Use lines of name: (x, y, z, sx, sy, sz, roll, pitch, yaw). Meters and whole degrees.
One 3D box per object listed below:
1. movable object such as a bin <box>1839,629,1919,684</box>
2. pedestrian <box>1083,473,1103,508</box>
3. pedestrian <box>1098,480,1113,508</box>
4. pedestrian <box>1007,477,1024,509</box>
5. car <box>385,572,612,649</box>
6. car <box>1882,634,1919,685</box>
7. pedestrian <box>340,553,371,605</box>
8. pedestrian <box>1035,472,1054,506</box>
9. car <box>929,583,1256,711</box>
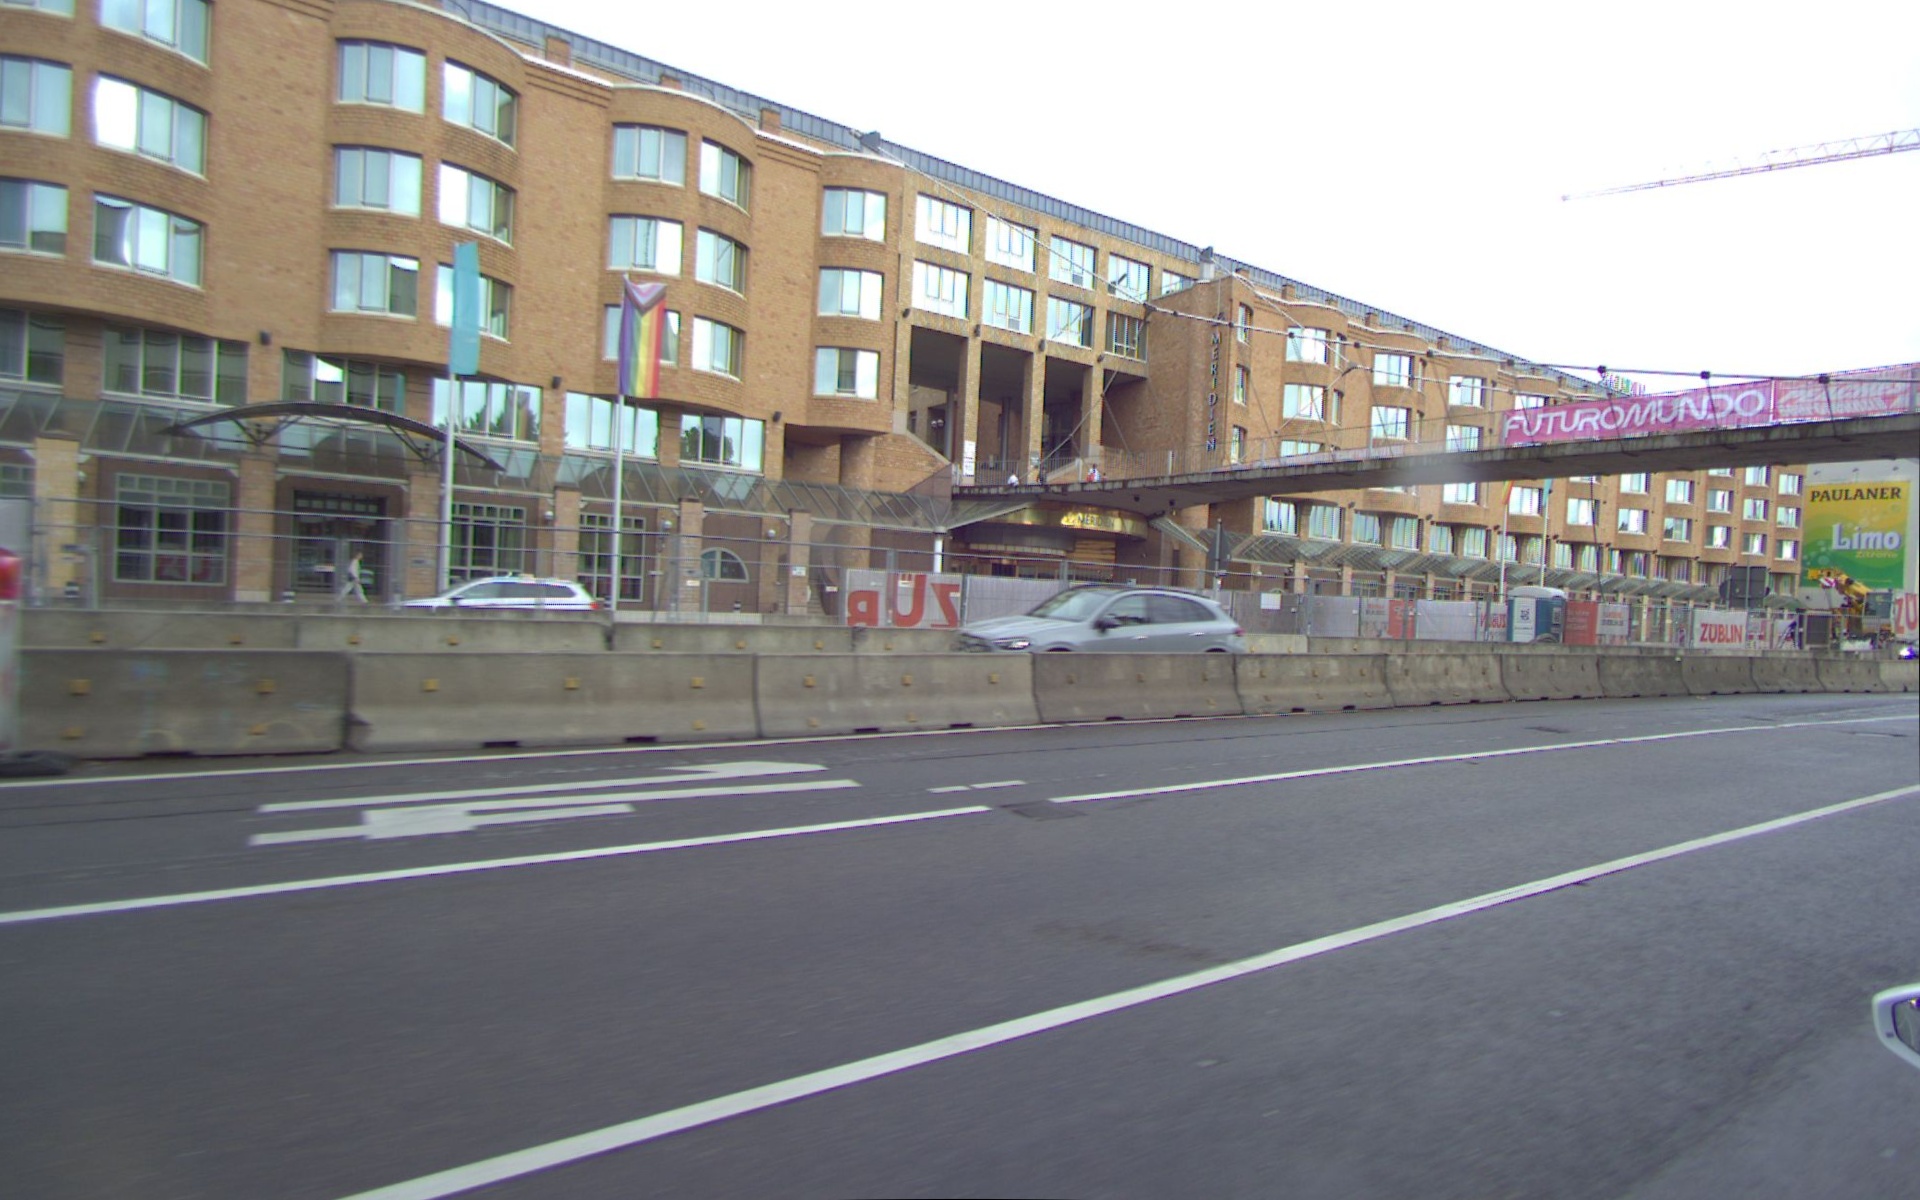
movable object such as a bin: (40.400, 2.459, 43.933, 4.252, 2.307, 2.013, 2, -3, -36)
pedestrian: (5.969, -4.895, 45.123, 0.611, 1.471, 0.618, 2, 0, -29)
pedestrian: (6.587, -4.790, 45.506, 0.478, 1.210, 0.473, 2, 0, -29)
pedestrian: (2.790, -5.380, 50.511, 0.611, 1.471, 0.618, 2, 0, -29)
car: (-10.123, 0.259, 22.162, 4.319, 1.546, 1.749, 2, 0, -34)
car: (33.929, 2.071, 34.836, 3.857, 1.645, 1.797, 1, 1, -31)
pedestrian: (-17.559, -0.594, 29.191, 0.728, 1.471, 0.613, 2, 0, -30)
pedestrian: (3.954, -5.211, 47.171, 0.611, 1.471, 0.618, 2, 0, -29)
car: (2.045, 0.639, 15.082, 4.648, 1.645, 1.983, 1, 1, -31)
